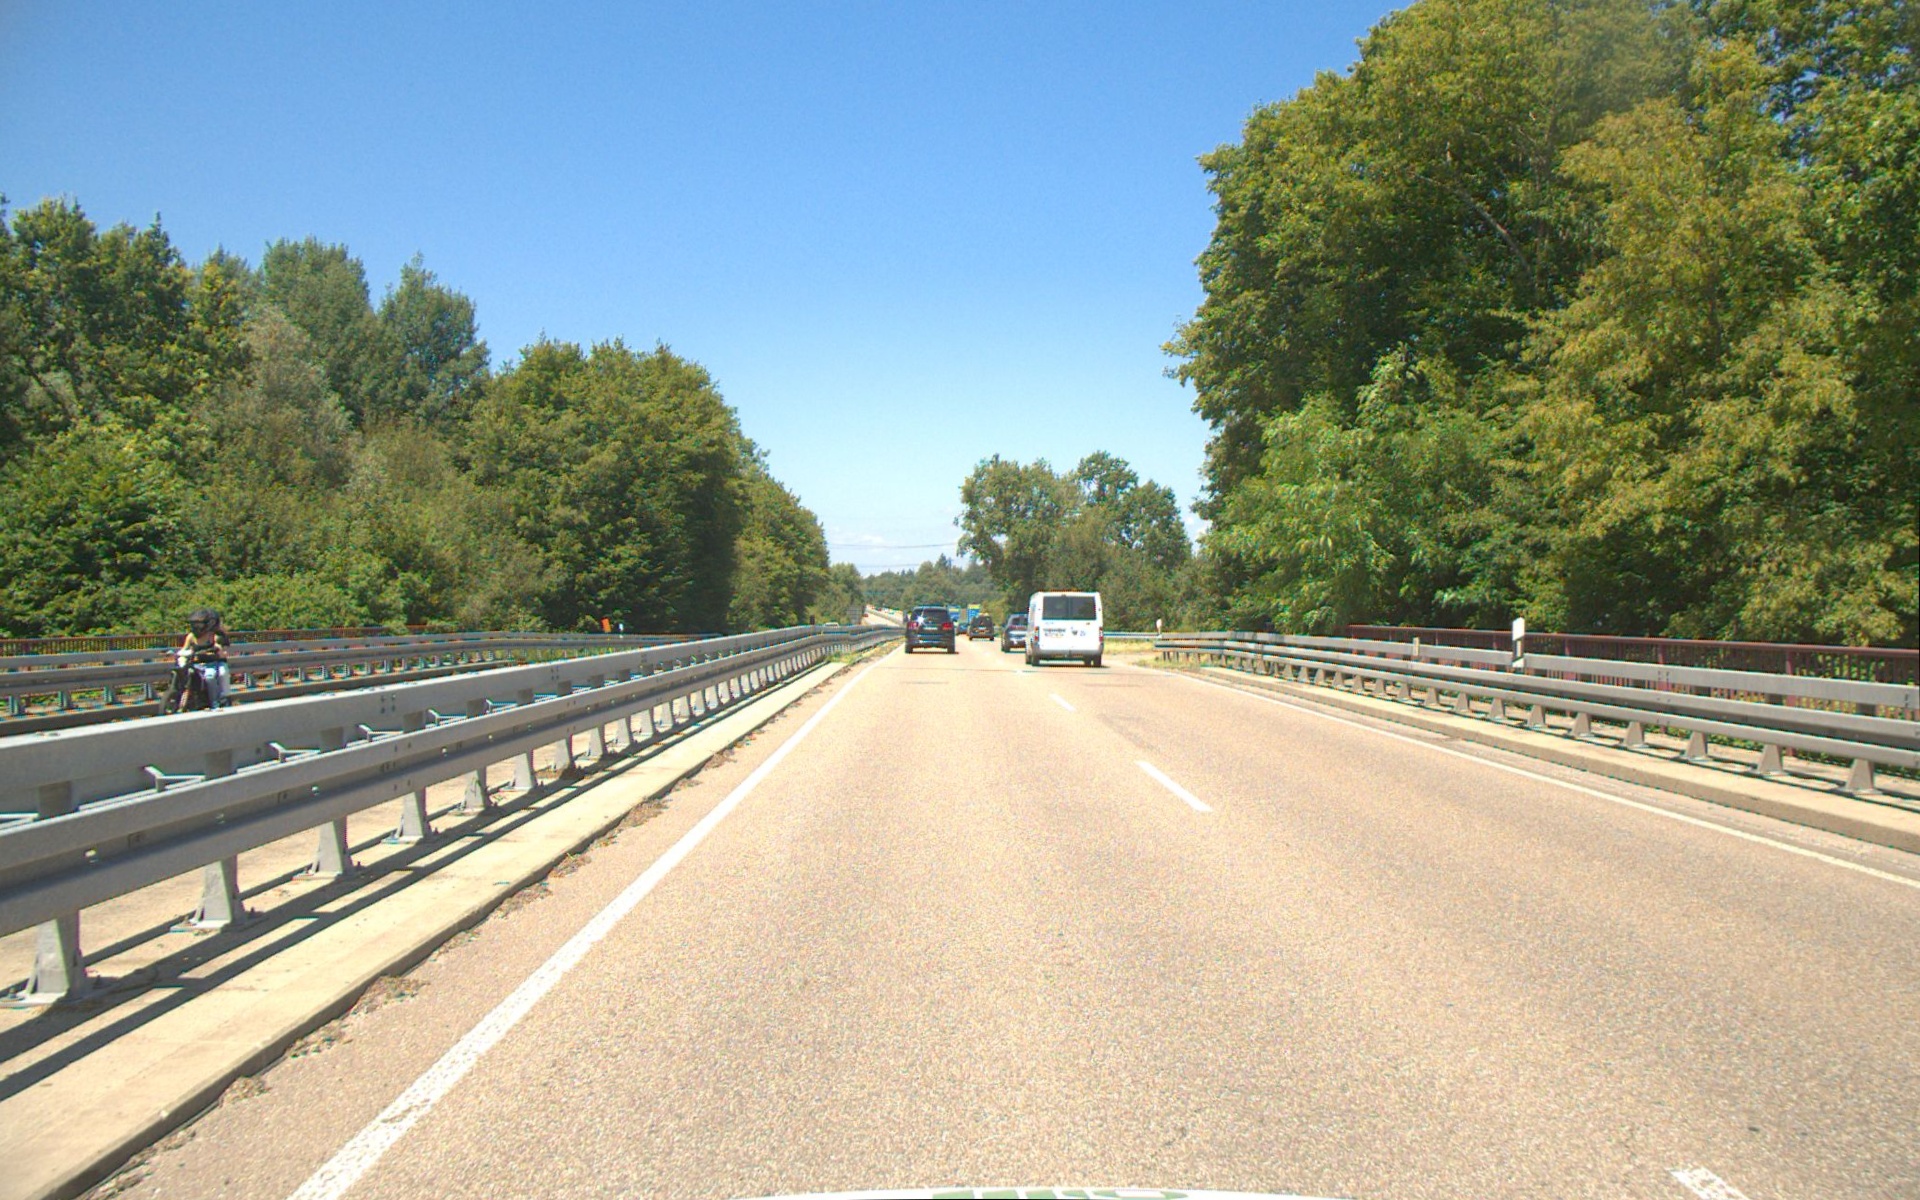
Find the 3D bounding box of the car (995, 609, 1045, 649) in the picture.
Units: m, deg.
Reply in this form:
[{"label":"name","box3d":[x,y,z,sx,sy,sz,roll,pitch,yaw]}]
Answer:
[{"label":"car","box3d":[2.405,1.158,67.322,1.749,1.580,4.017,-1,0,-2]}]

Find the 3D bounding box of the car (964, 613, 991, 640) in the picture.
[{"label":"car","box3d":[1.250,1.900,120.110,1.744,1.848,4.211,-2,0,-1]}]

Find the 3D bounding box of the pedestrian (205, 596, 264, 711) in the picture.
[{"label":"pedestrian","box3d":[-10.112,0.737,23.063,0.602,1.567,0.494,-1,0,-1]}]

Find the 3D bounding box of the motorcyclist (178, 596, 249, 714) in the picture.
[{"label":"motorcyclist","box3d":[-10.106,0.734,22.412,0.602,1.567,0.776,-1,0,-1]}]

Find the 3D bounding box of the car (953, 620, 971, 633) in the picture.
[{"label":"car","box3d":[0.222,2.957,185.527,1.783,1.439,3.998,-2,0,-2]}]

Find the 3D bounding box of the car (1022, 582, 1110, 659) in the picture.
[{"label":"car","box3d":[2.905,0.599,46.375,1.965,2.024,5.031,0,-1,-2]}]

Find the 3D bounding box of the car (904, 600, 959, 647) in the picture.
[{"label":"car","box3d":[-1.118,0.934,63.285,1.954,1.684,3.997,-1,-2,-3]}]

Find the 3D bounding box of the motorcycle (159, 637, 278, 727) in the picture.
[{"label":"motorcycle","box3d":[-10.113,1.089,22.651,0.602,1.123,2.313,-1,0,-1]}]
